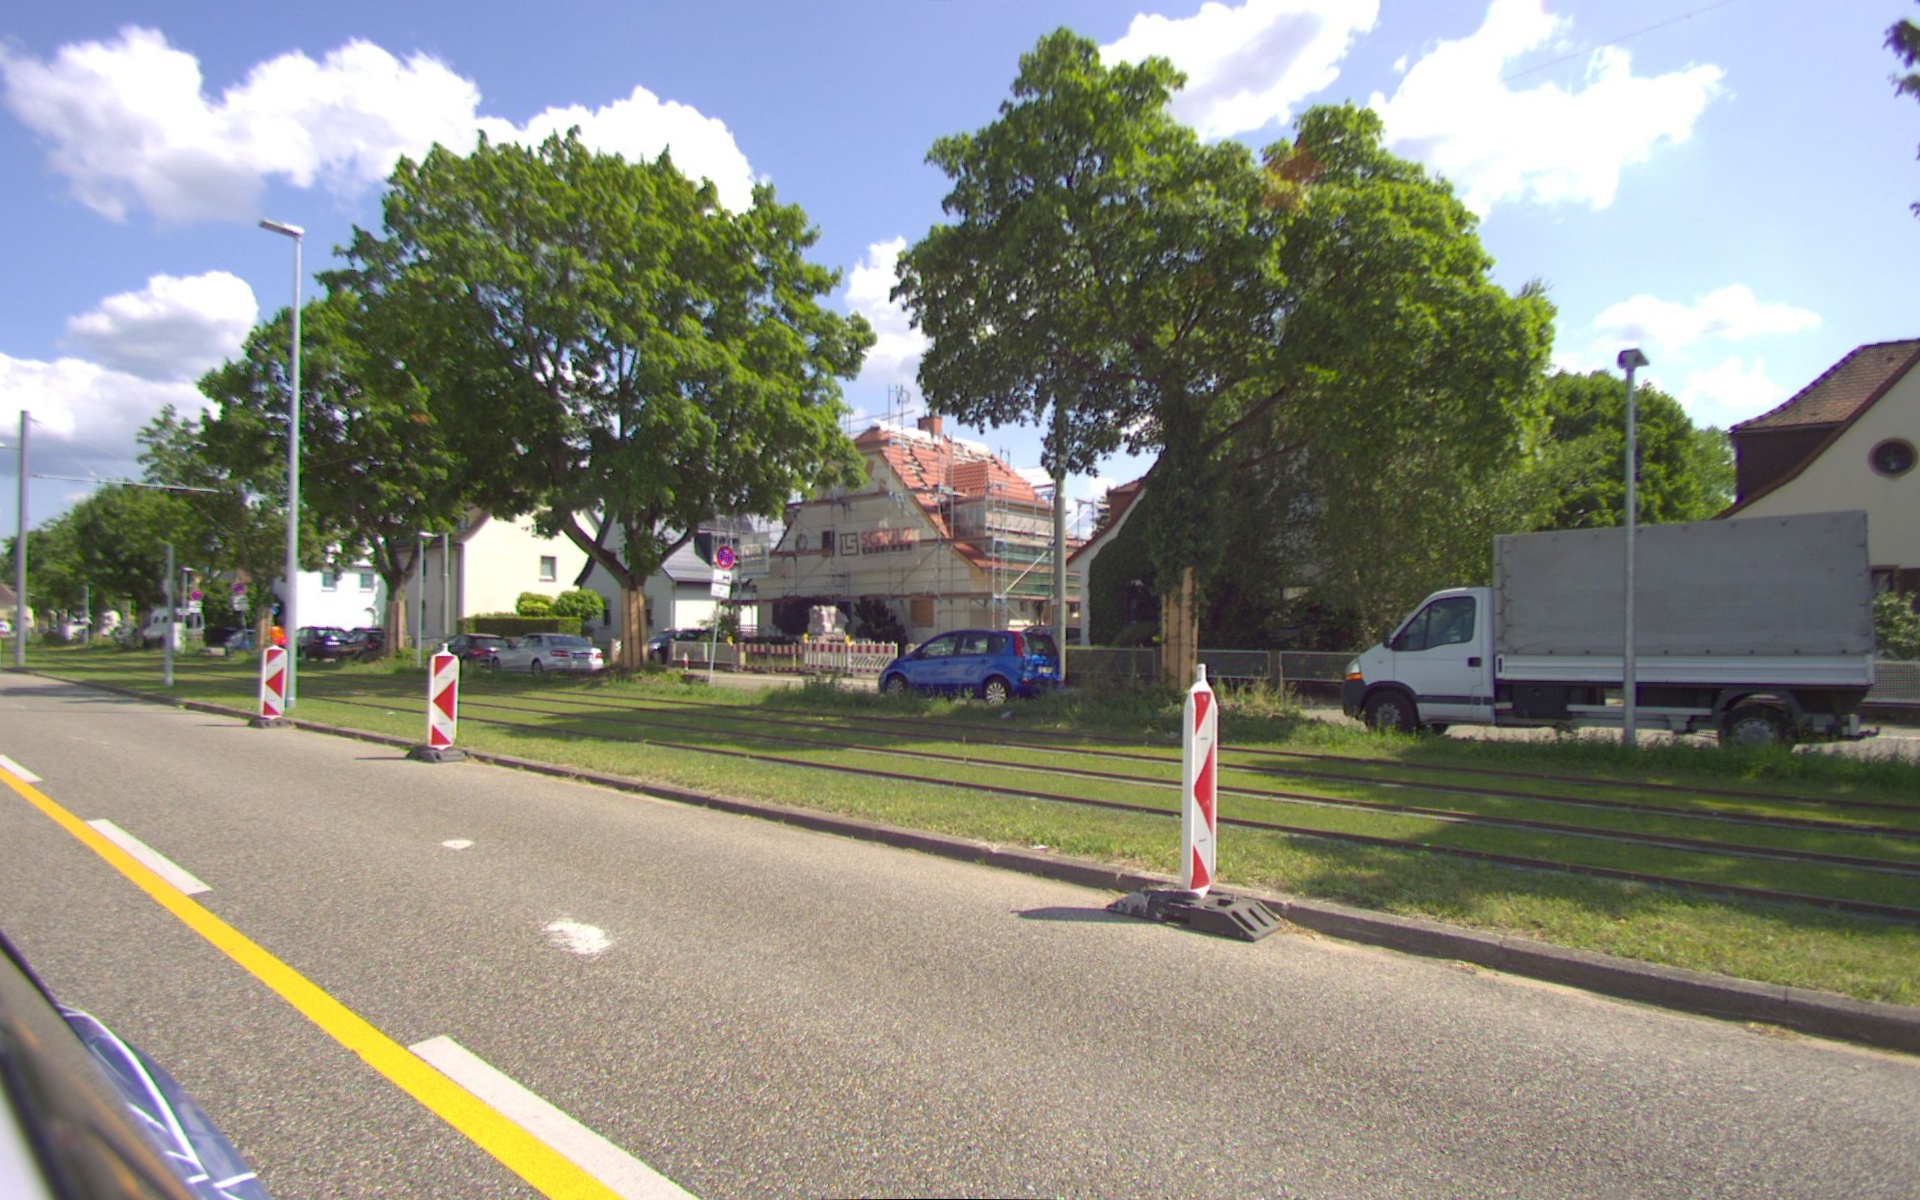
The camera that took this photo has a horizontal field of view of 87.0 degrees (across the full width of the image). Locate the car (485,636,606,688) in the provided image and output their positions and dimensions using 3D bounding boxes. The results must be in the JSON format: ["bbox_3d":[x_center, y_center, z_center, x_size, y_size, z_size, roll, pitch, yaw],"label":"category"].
[{"bbox_3d":[-13.112,1.947,31.884,4.520,1.497,1.765,-4,-3,42],"label":"car"}]

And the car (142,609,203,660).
[{"bbox_3d":[-49.526,2.183,63.601,5.080,3.061,2.108,-3,-3,41],"label":"car"}]

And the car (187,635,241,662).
[{"bbox_3d":[-44.486,2.896,60.325,4.403,1.497,1.680,-3,-3,41],"label":"car"}]

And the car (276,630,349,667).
[{"bbox_3d":[-29.503,2.241,46.070,4.403,1.584,1.680,-3,-3,41],"label":"car"}]

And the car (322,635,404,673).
[{"bbox_3d":[-25.188,2.269,42.648,4.403,1.497,1.680,-3,-3,41],"label":"car"}]

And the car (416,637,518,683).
[{"bbox_3d":[-17.528,2.133,35.891,4.403,1.497,1.680,-3,-3,41],"label":"car"}]

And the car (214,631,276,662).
[{"bbox_3d":[-37.502,2.447,53.045,4.403,1.497,1.680,-3,-3,41],"label":"car"}]

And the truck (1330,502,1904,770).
[{"bbox_3d":[8.293,0.463,13.402,5.971,2.802,2.242,-2,-3,41],"label":"truck"}]

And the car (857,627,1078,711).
[{"bbox_3d":[0.059,1.362,20.279,4.403,1.497,1.680,-3,-3,41],"label":"car"}]

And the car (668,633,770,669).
[{"bbox_3d":[-10.934,2.308,46.209,1.702,1.497,4.345,-3,-3,41],"label":"car"}]
